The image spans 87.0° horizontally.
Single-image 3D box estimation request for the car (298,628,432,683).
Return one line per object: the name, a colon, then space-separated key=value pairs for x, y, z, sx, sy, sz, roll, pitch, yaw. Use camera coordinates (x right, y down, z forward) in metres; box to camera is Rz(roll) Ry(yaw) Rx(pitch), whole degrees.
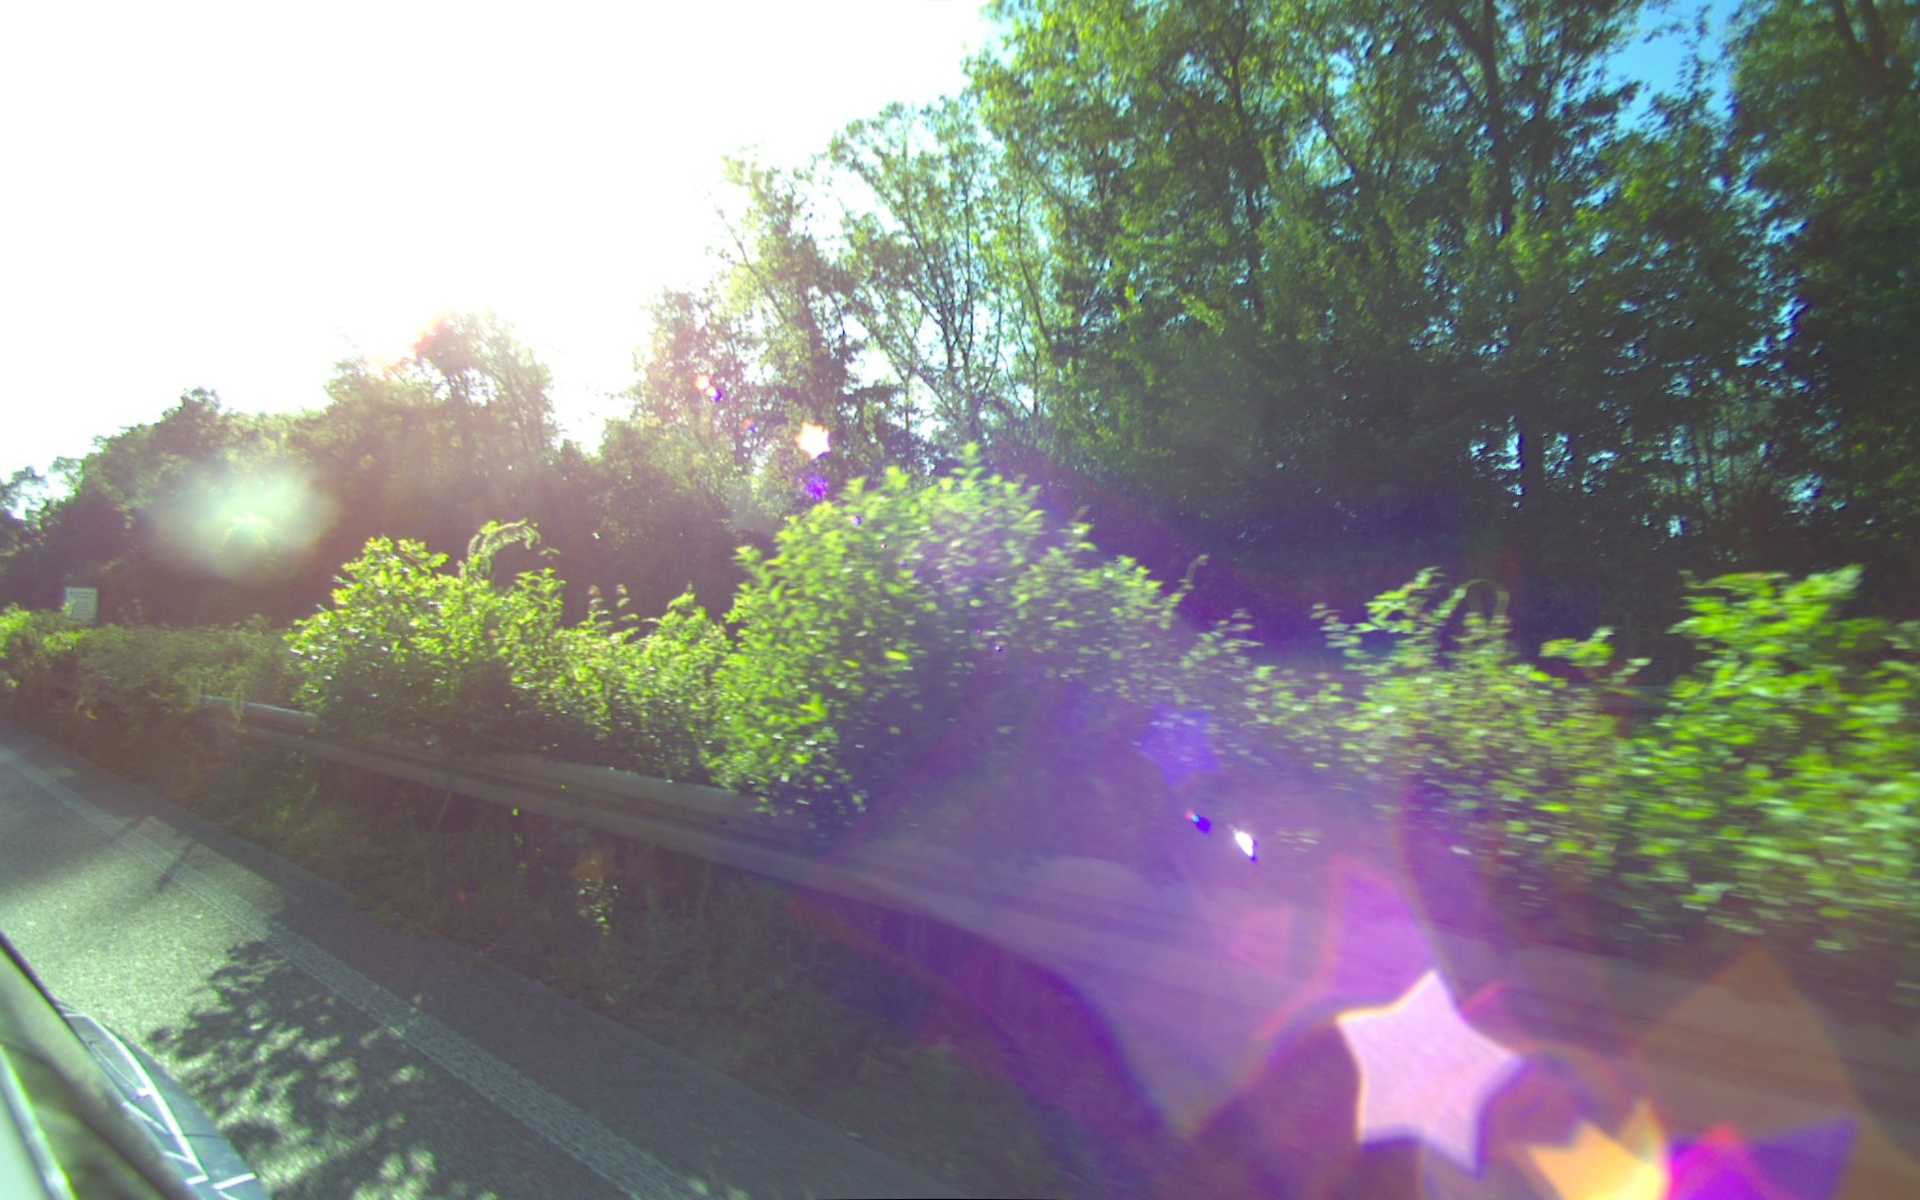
car: x=-17.303 y=1.551 z=29.358 sx=4.335 sy=1.460 sz=1.974 roll=-1 pitch=-2 yaw=39
